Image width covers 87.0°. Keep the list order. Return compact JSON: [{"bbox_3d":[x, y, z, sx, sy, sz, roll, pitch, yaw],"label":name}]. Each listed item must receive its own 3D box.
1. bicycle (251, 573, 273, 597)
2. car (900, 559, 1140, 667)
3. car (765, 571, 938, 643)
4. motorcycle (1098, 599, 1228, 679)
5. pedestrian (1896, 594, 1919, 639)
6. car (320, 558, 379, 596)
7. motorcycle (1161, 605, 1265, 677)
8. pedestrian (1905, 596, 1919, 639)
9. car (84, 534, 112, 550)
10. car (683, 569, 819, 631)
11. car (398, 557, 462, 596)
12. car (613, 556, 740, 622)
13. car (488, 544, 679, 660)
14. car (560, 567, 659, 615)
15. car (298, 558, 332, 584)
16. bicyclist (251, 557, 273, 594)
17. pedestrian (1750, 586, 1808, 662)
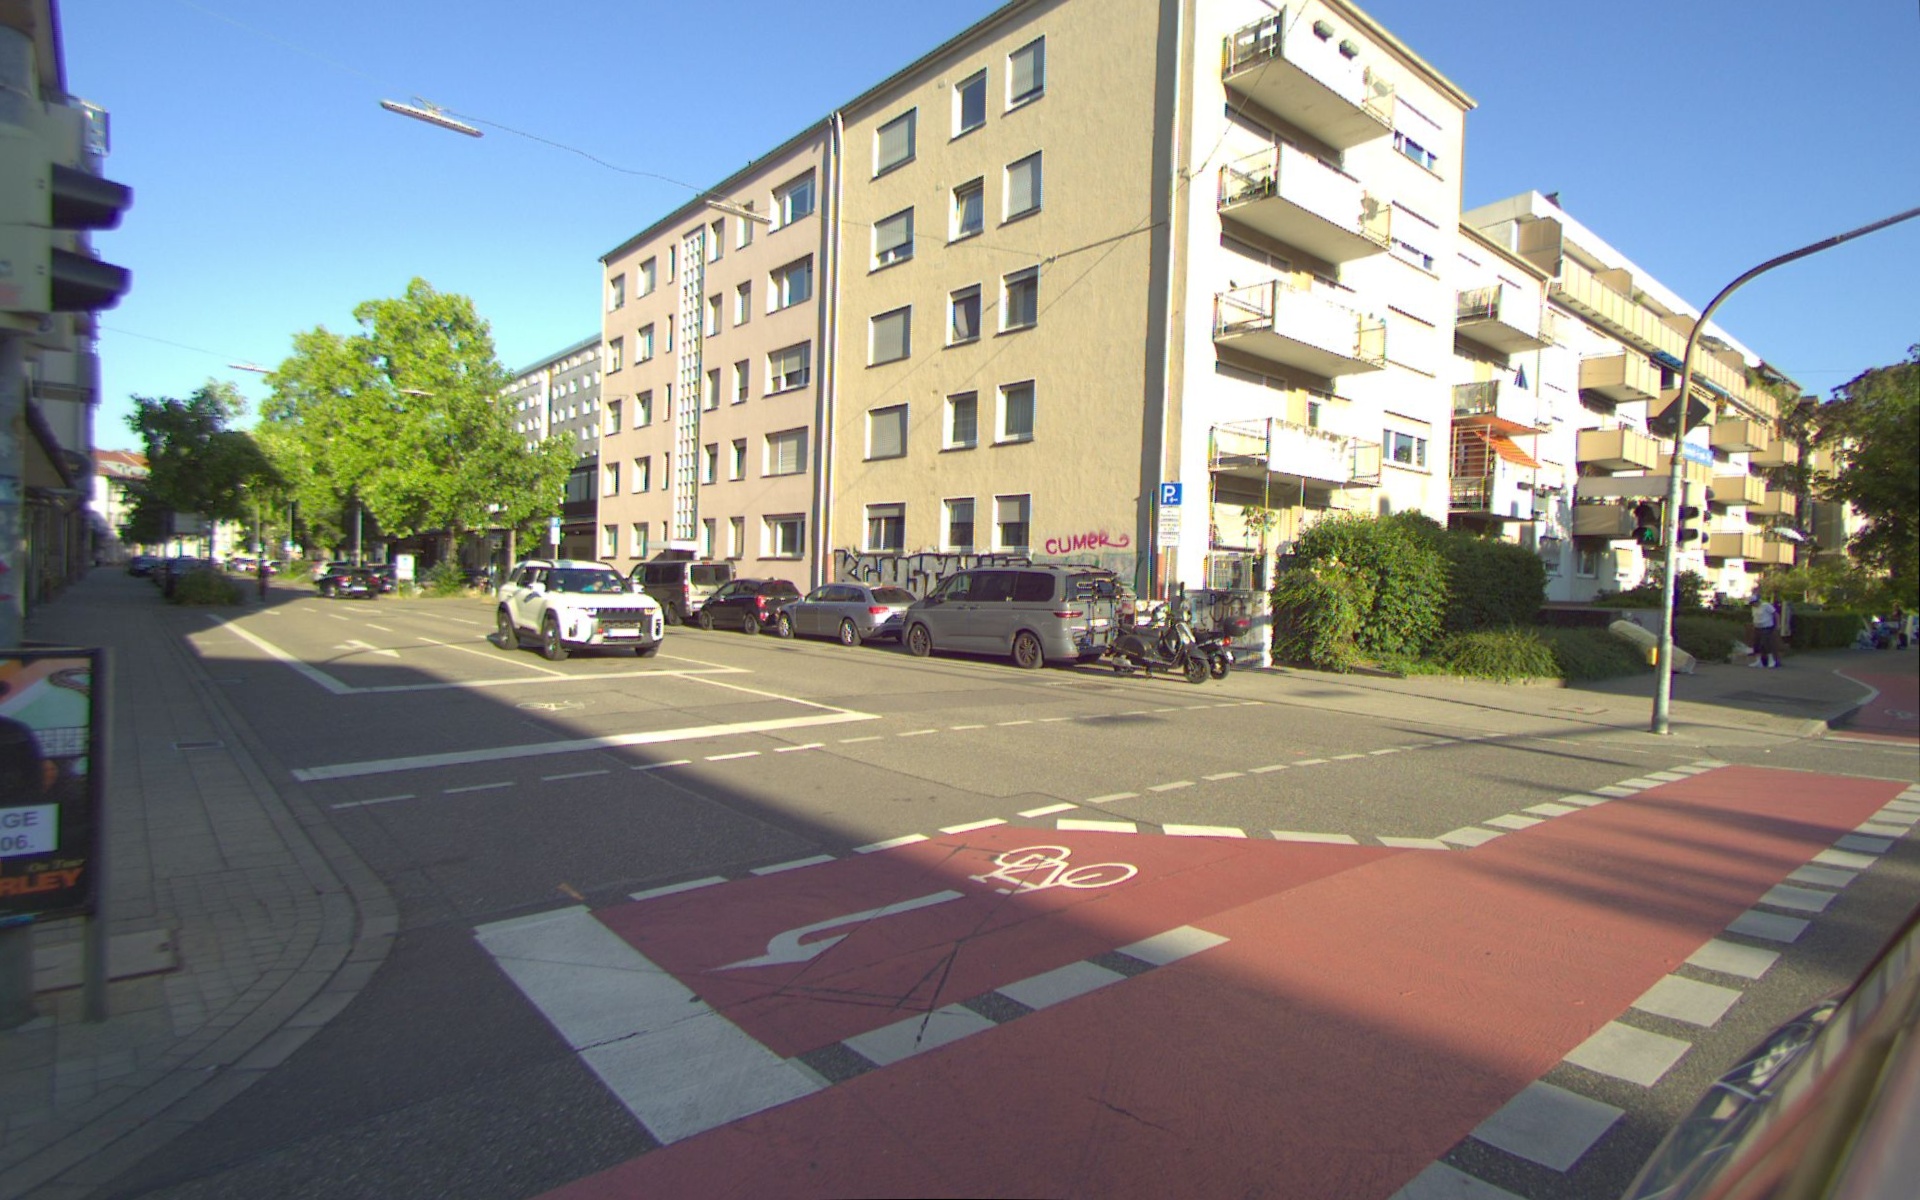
[{"bbox_3d":[-29.275,-0.632,42.448,0.730,0.933,2.399,1,1,-35],"label":"bicycle"},{"bbox_3d":[1.061,0.137,20.174,1.920,1.889,4.836,-1,3,-42],"label":"car"},{"bbox_3d":[-2.770,0.084,24.899,1.920,1.560,4.615,-1,3,-42],"label":"car"},{"bbox_3d":[3.349,0.613,16.766,1.981,1.215,0.764,1,1,38],"label":"motorcycle"},{"bbox_3d":[37.348,0.636,39.744,0.815,1.703,0.660,1,2,-35],"label":"pedestrian"},{"bbox_3d":[-28.424,-1.087,47.069,1.917,1.681,4.354,1,1,-37],"label":"car"},{"bbox_3d":[4.292,0.664,17.268,0.584,1.126,1.697,0,1,-39],"label":"motorcycle"},{"bbox_3d":[38.847,0.707,40.944,0.815,1.703,0.660,1,2,-35],"label":"pedestrian"},{"bbox_3d":[-101.222,-6.803,118.871,1.915,1.681,4.358,1,1,-33],"label":"car"},{"bbox_3d":[-5.963,-0.065,28.515,1.919,1.560,4.286,-1,3,-41],"label":"car"},{"bbox_3d":[-26.721,-1.224,50.966,1.919,1.861,4.349,0,1,-41],"label":"car"},{"bbox_3d":[-9.100,-0.404,32.170,1.919,1.930,5.070,0,2,-41],"label":"car"},{"bbox_3d":[-7.001,-0.037,18.567,1.918,1.861,4.350,0,1,-40],"label":"car"},{"bbox_3d":[-12.667,-0.377,36.454,1.919,1.560,4.286,-1,3,-41],"label":"car"},{"bbox_3d":[-43.984,-1.974,68.982,1.915,1.681,4.358,1,1,-33],"label":"car"},{"bbox_3d":[-29.314,-1.019,42.519,0.730,1.522,0.883,1,1,-35],"label":"bicyclist"},{"bbox_3d":[18.892,0.537,23.349,0.648,1.703,0.831,1,2,-36],"label":"pedestrian"}]
